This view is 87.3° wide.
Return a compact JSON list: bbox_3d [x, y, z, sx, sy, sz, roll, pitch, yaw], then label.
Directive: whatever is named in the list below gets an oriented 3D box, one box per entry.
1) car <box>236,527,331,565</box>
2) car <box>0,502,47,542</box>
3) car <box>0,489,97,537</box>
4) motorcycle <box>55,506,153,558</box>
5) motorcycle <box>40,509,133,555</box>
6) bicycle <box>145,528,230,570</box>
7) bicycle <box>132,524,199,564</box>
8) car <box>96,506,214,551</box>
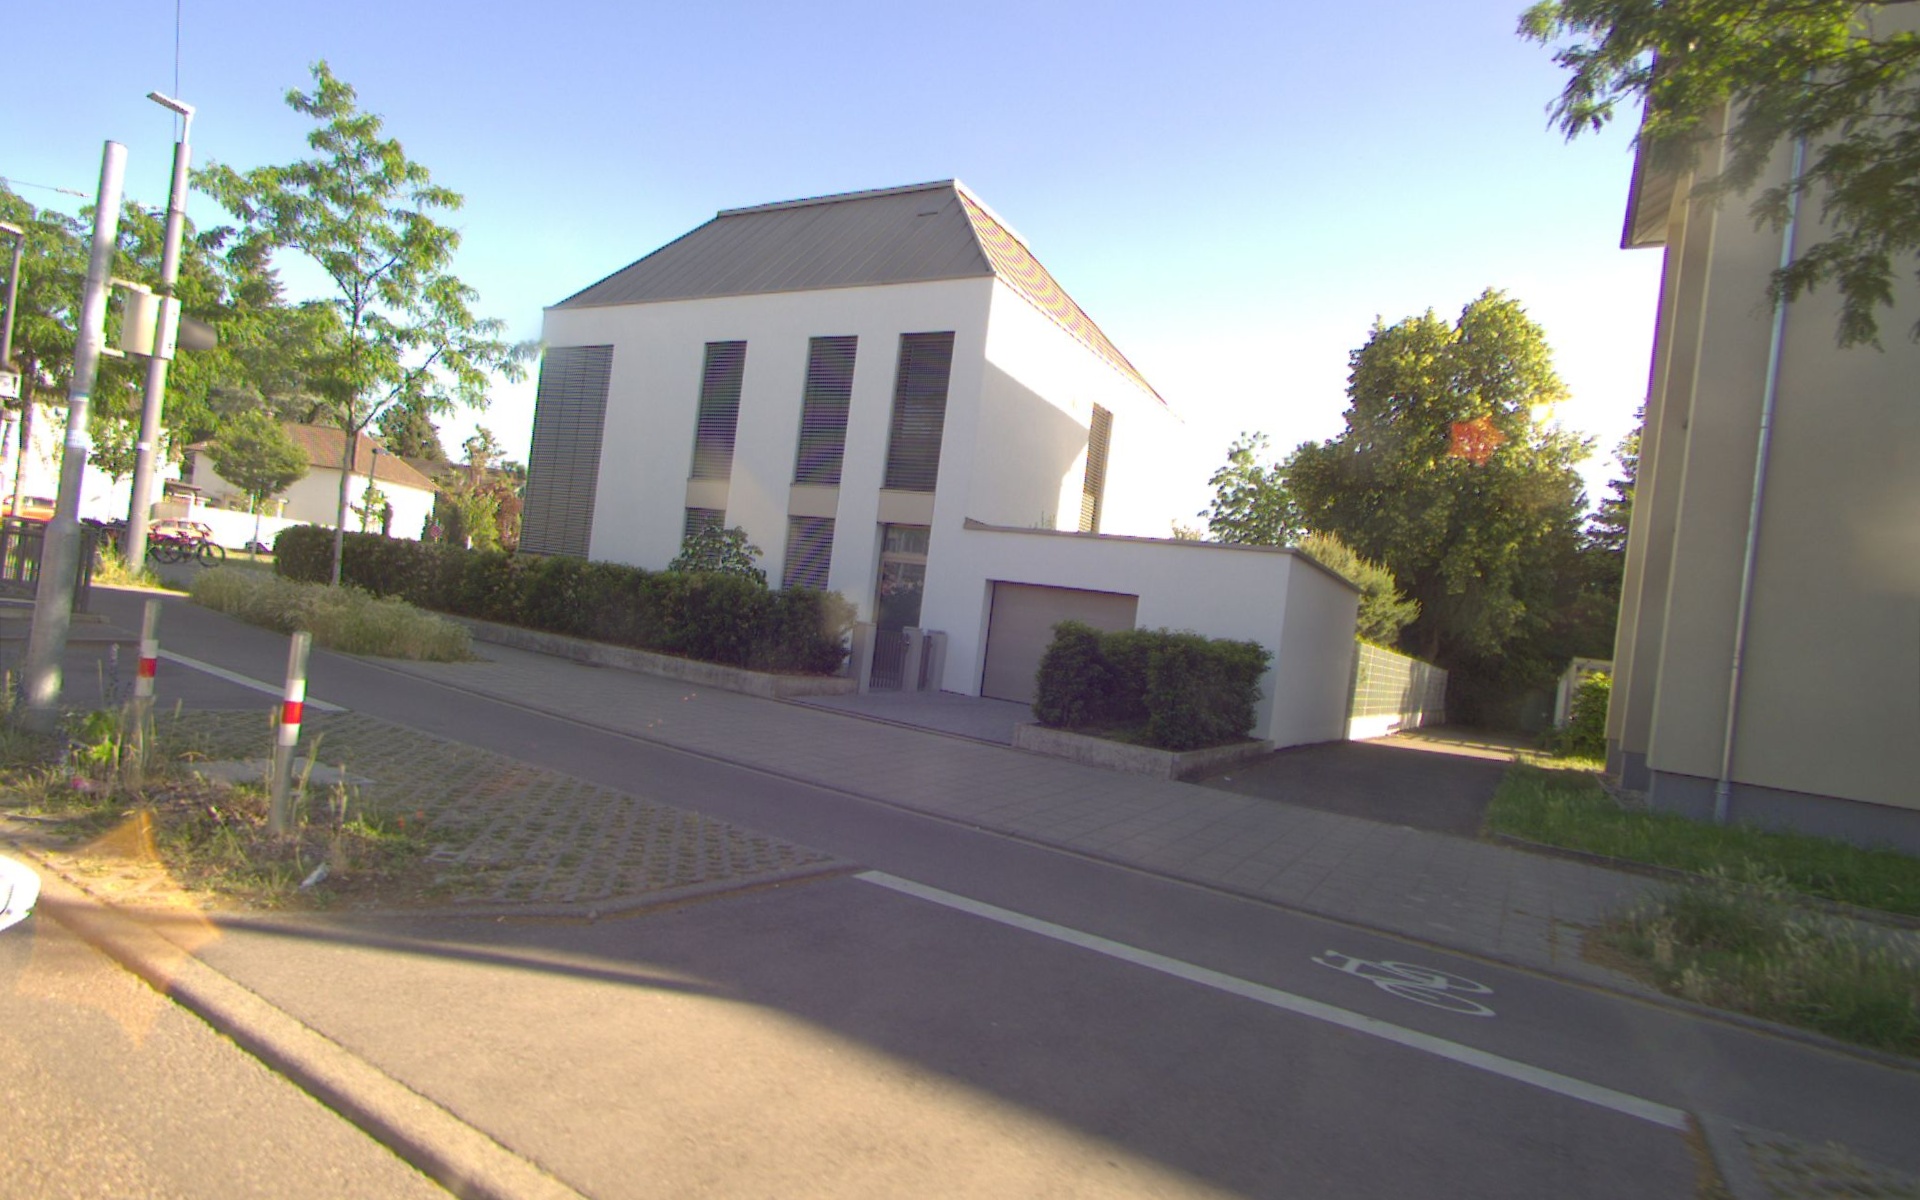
[{"bbox_3d":[-38.638,-3.049,57.622,1.944,1.525,4.180,7,-1,14],"label":"car"},{"bbox_3d":[-42.626,-3.589,43.359,1.955,1.483,4.597,4,-2,41],"label":"car"},{"bbox_3d":[-43.191,-4.092,46.731,1.948,1.661,4.172,7,-1,29],"label":"car"},{"bbox_3d":[-26.830,-2.119,31.570,0.846,1.289,2.083,7,-1,24],"label":"motorcycle"},{"bbox_3d":[-28.135,-2.184,32.435,0.846,1.172,2.004,7,-1,24],"label":"motorcycle"},{"bbox_3d":[-22.533,-1.471,29.374,0.482,0.990,1.903,7,-1,24],"label":"bicycle"},{"bbox_3d":[-23.763,-1.656,30.126,0.408,0.990,1.474,7,-1,24],"label":"bicycle"},{"bbox_3d":[-41.086,-3.622,51.468,1.946,1.525,4.176,7,-1,24],"label":"car"}]
